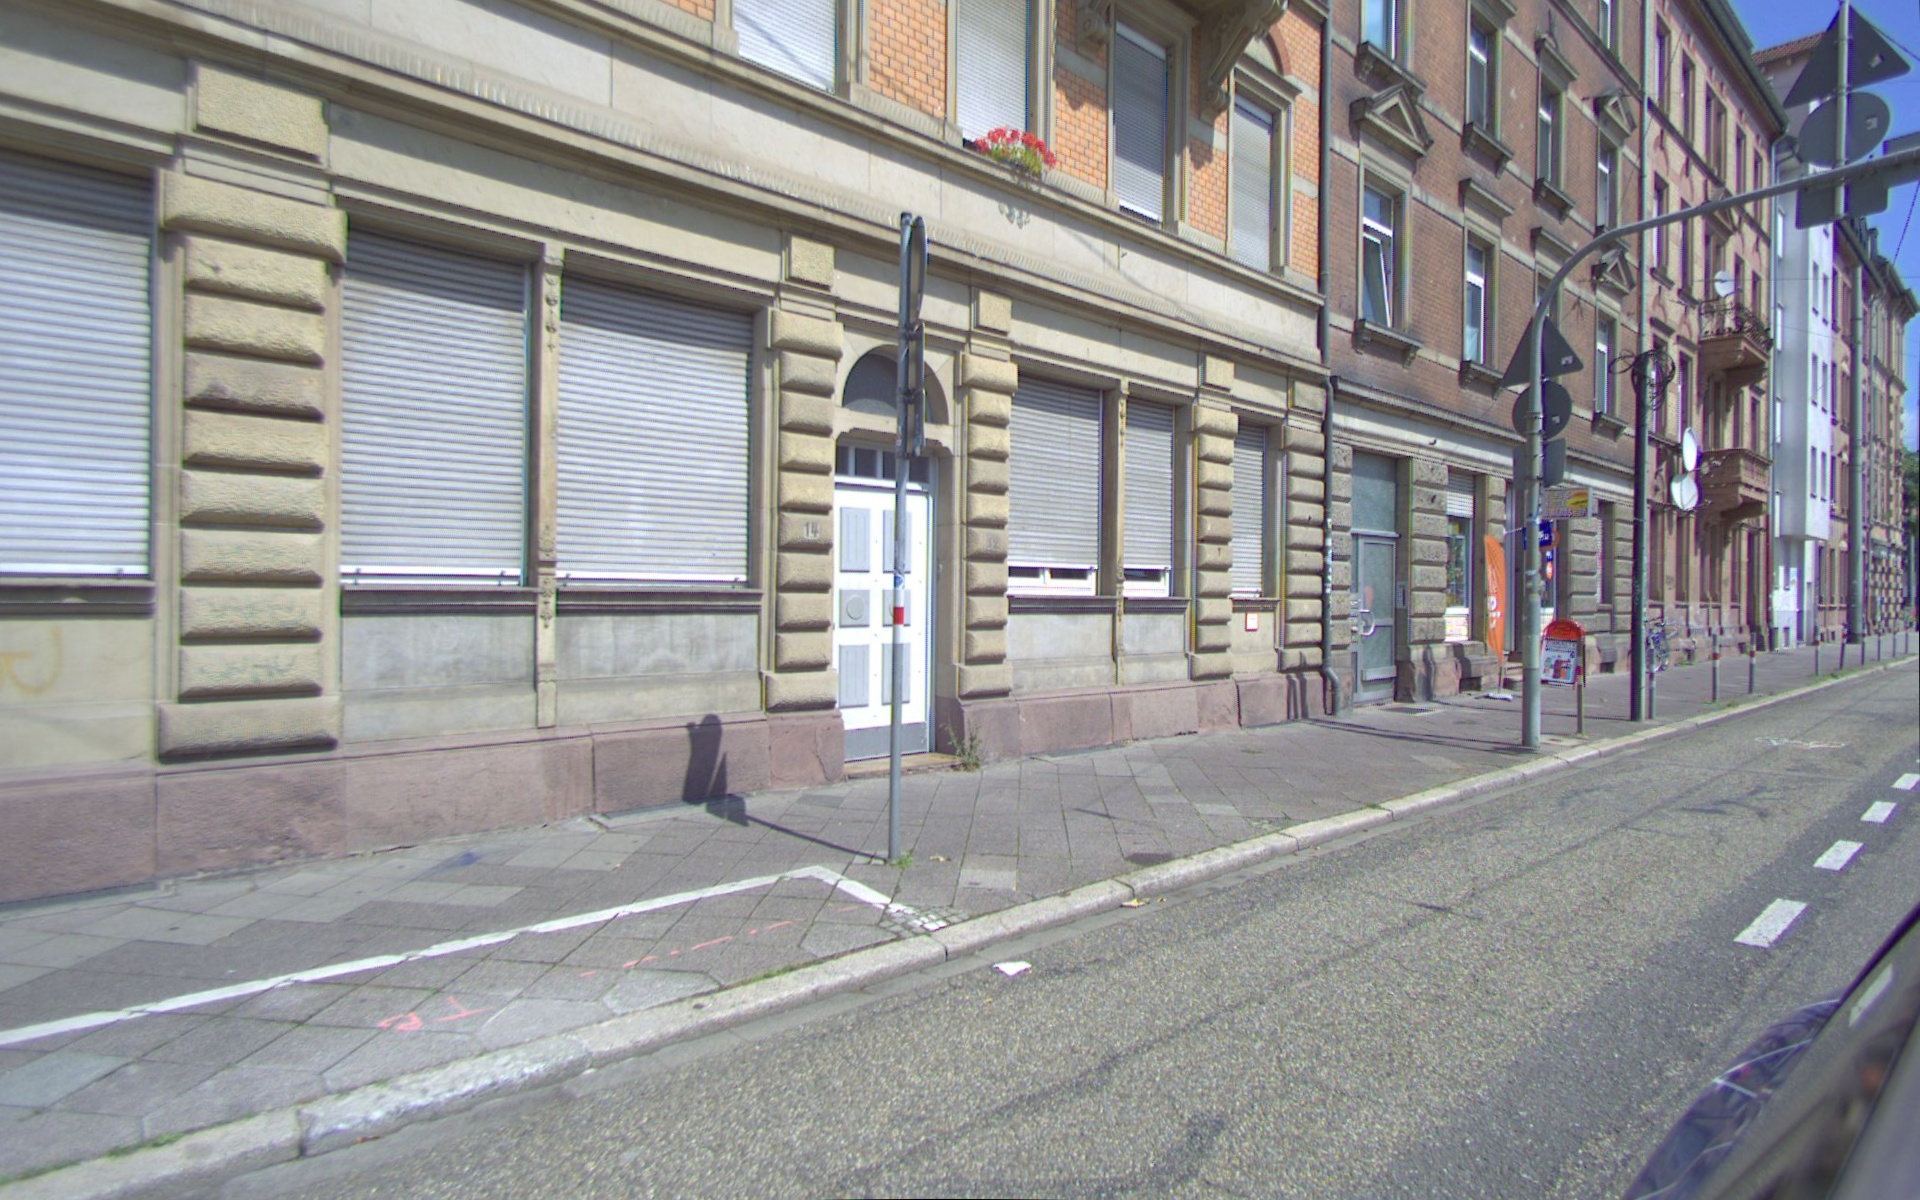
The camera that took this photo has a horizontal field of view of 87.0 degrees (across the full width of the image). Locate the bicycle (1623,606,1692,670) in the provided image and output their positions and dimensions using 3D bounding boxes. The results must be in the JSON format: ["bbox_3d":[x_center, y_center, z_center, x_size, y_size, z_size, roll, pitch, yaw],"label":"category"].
[{"bbox_3d":[13.938,0.727,20.197,2.166,1.193,0.587,0,1,-40],"label":"bicycle"}]
